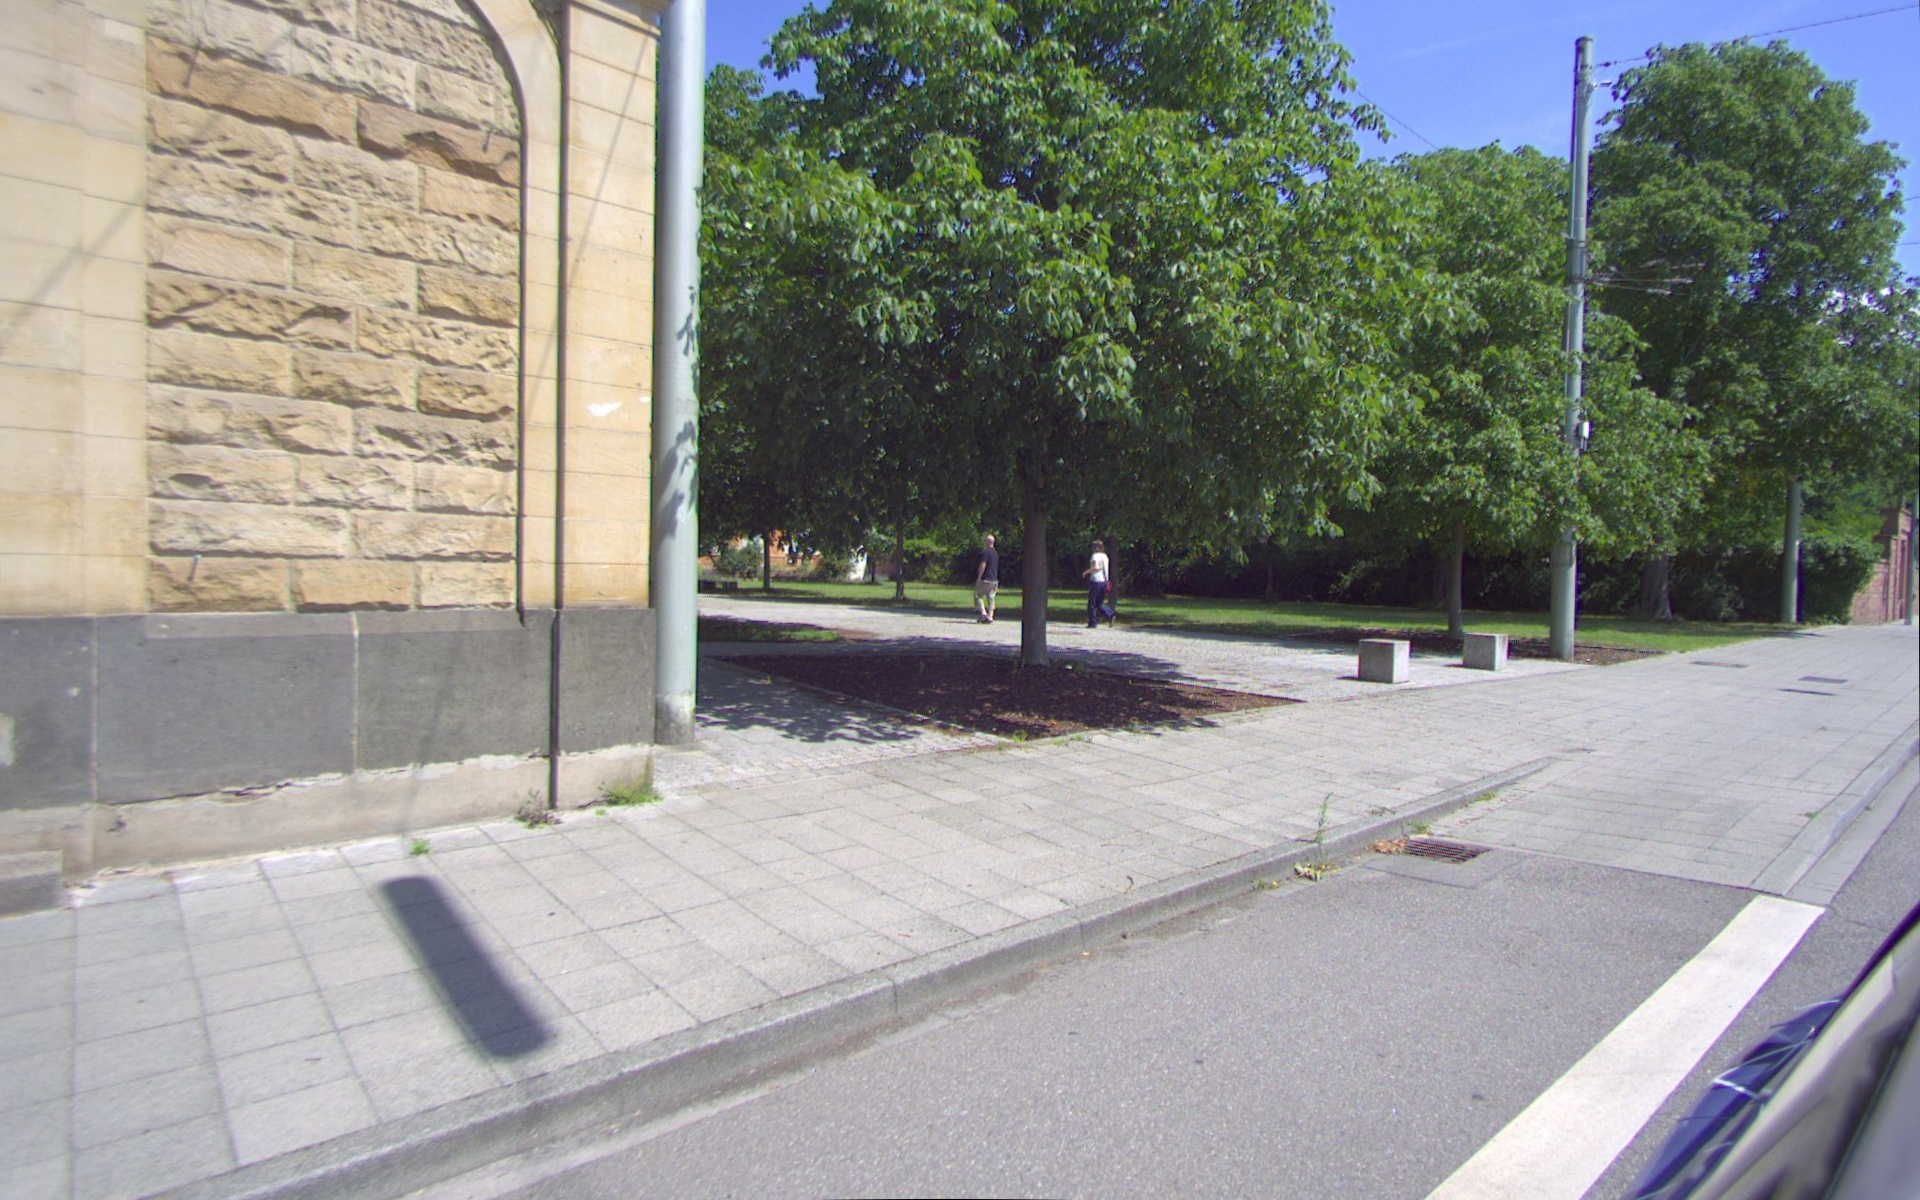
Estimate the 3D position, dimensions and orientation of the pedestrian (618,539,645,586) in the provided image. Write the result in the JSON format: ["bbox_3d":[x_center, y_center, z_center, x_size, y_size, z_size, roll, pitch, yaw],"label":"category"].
[{"bbox_3d":[-12.700,-1.446,39.115,0.794,1.820,0.678,0,2,-38],"label":"pedestrian"}]

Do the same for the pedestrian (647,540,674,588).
[{"bbox_3d":[-11.592,-1.401,39.214,0.794,1.820,0.678,0,2,-38],"label":"pedestrian"}]

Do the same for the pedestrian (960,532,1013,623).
[{"bbox_3d":[0.542,-0.464,20.688,0.794,1.802,0.678,0,2,-38],"label":"pedestrian"}]

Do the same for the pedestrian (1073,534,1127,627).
[{"bbox_3d":[2.833,-0.402,20.483,0.794,1.820,0.678,0,2,-38],"label":"pedestrian"}]
